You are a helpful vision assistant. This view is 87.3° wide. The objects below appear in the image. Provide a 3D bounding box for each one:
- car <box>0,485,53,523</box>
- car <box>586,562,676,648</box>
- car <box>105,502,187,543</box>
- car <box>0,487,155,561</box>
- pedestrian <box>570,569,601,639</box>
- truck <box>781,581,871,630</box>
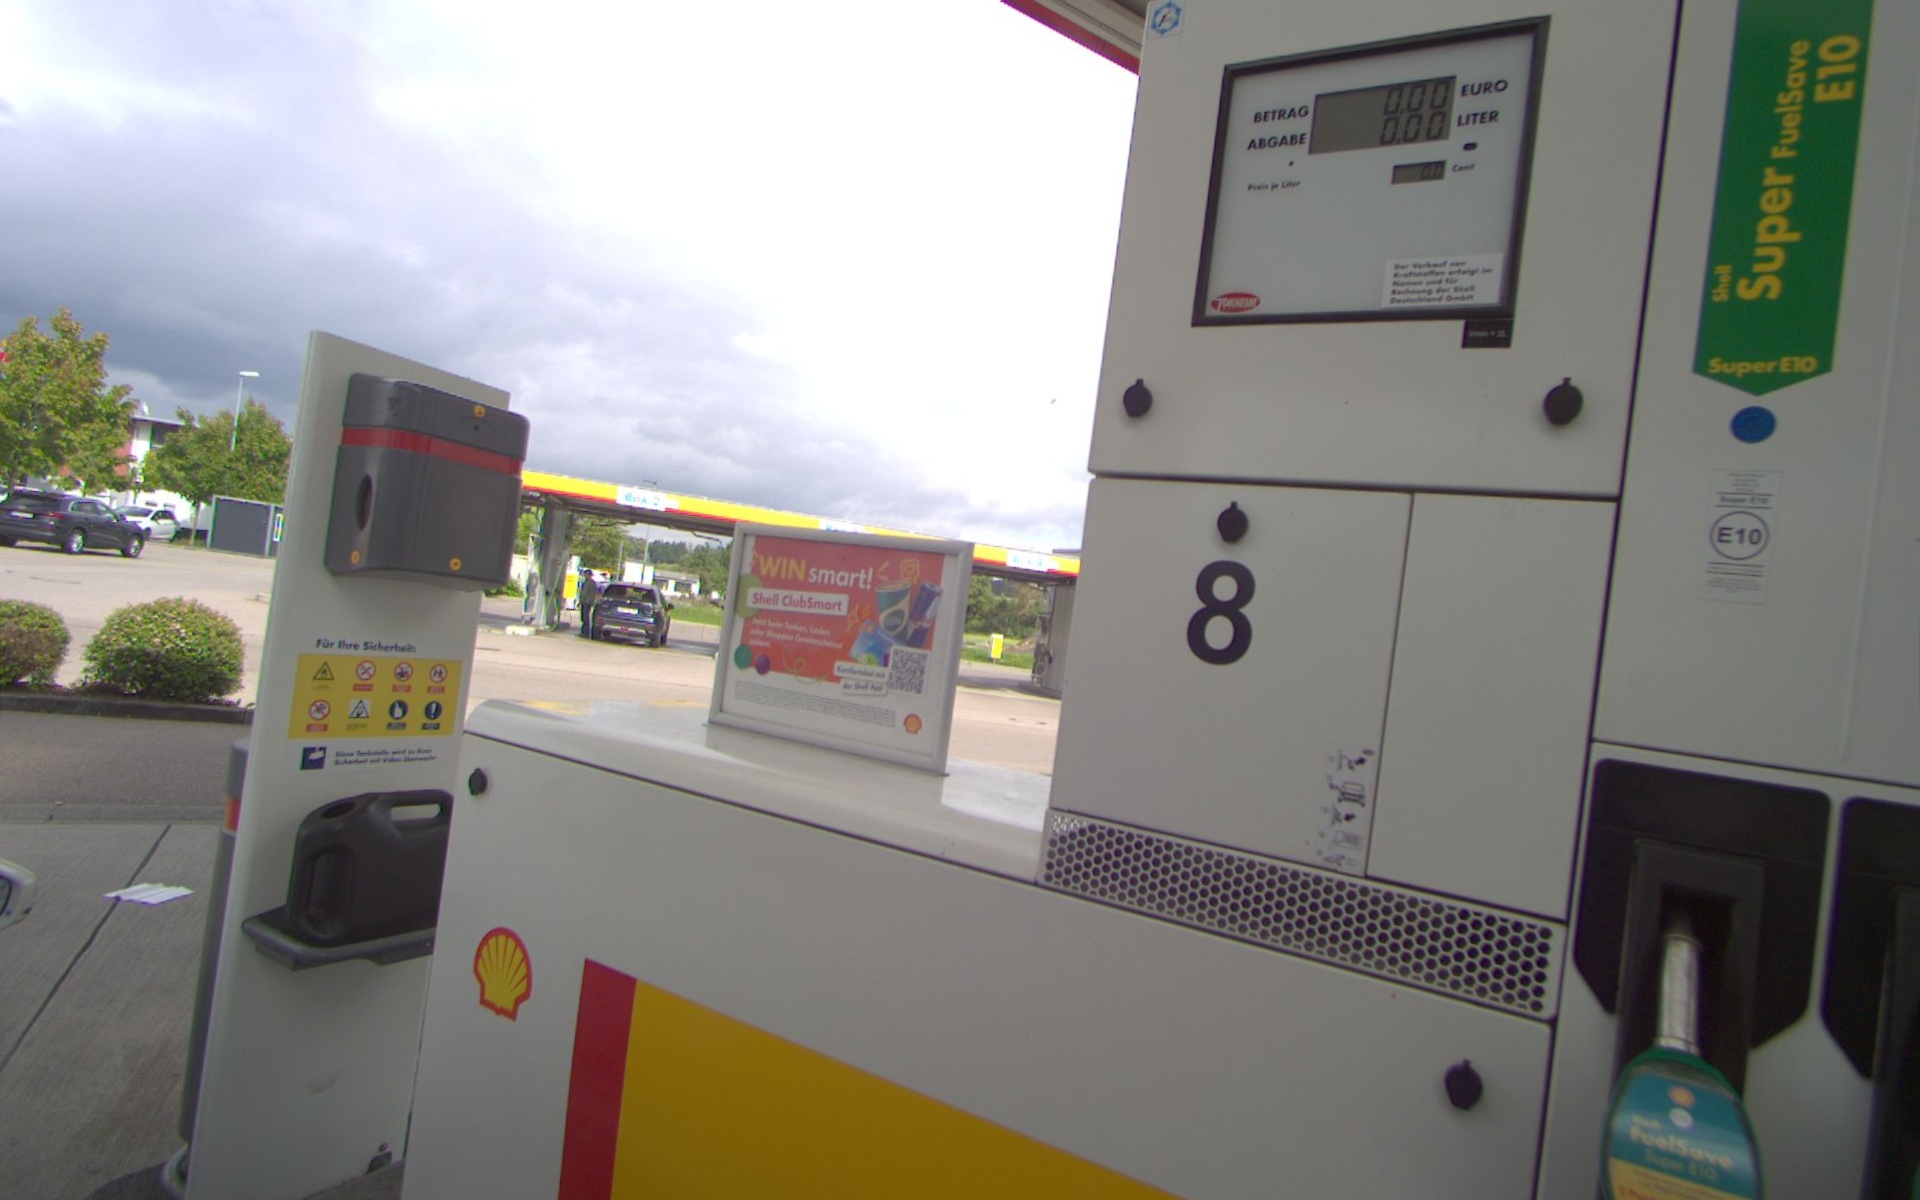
[{"bbox_3d":[-57.353,-5.903,60.242,2.149,1.854,4.870,8,-2,-11],"label":"car"},{"bbox_3d":[-8.690,0.150,26.862,1.696,1.919,3.800,8,-2,-12],"label":"car"},{"bbox_3d":[-35.252,-3.339,43.646,1.346,1.322,3.098,8,-2,-12],"label":"car"},{"bbox_3d":[-25.922,-2.165,29.261,1.855,1.566,4.498,8,-2,-10],"label":"car"},{"bbox_3d":[-9.712,0.098,26.097,0.550,1.742,0.526,7,-1,-21],"label":"pedestrian"},{"bbox_3d":[-13.007,0.544,97.507,7.978,3.575,2.687,8,-2,-19],"label":"truck"}]
